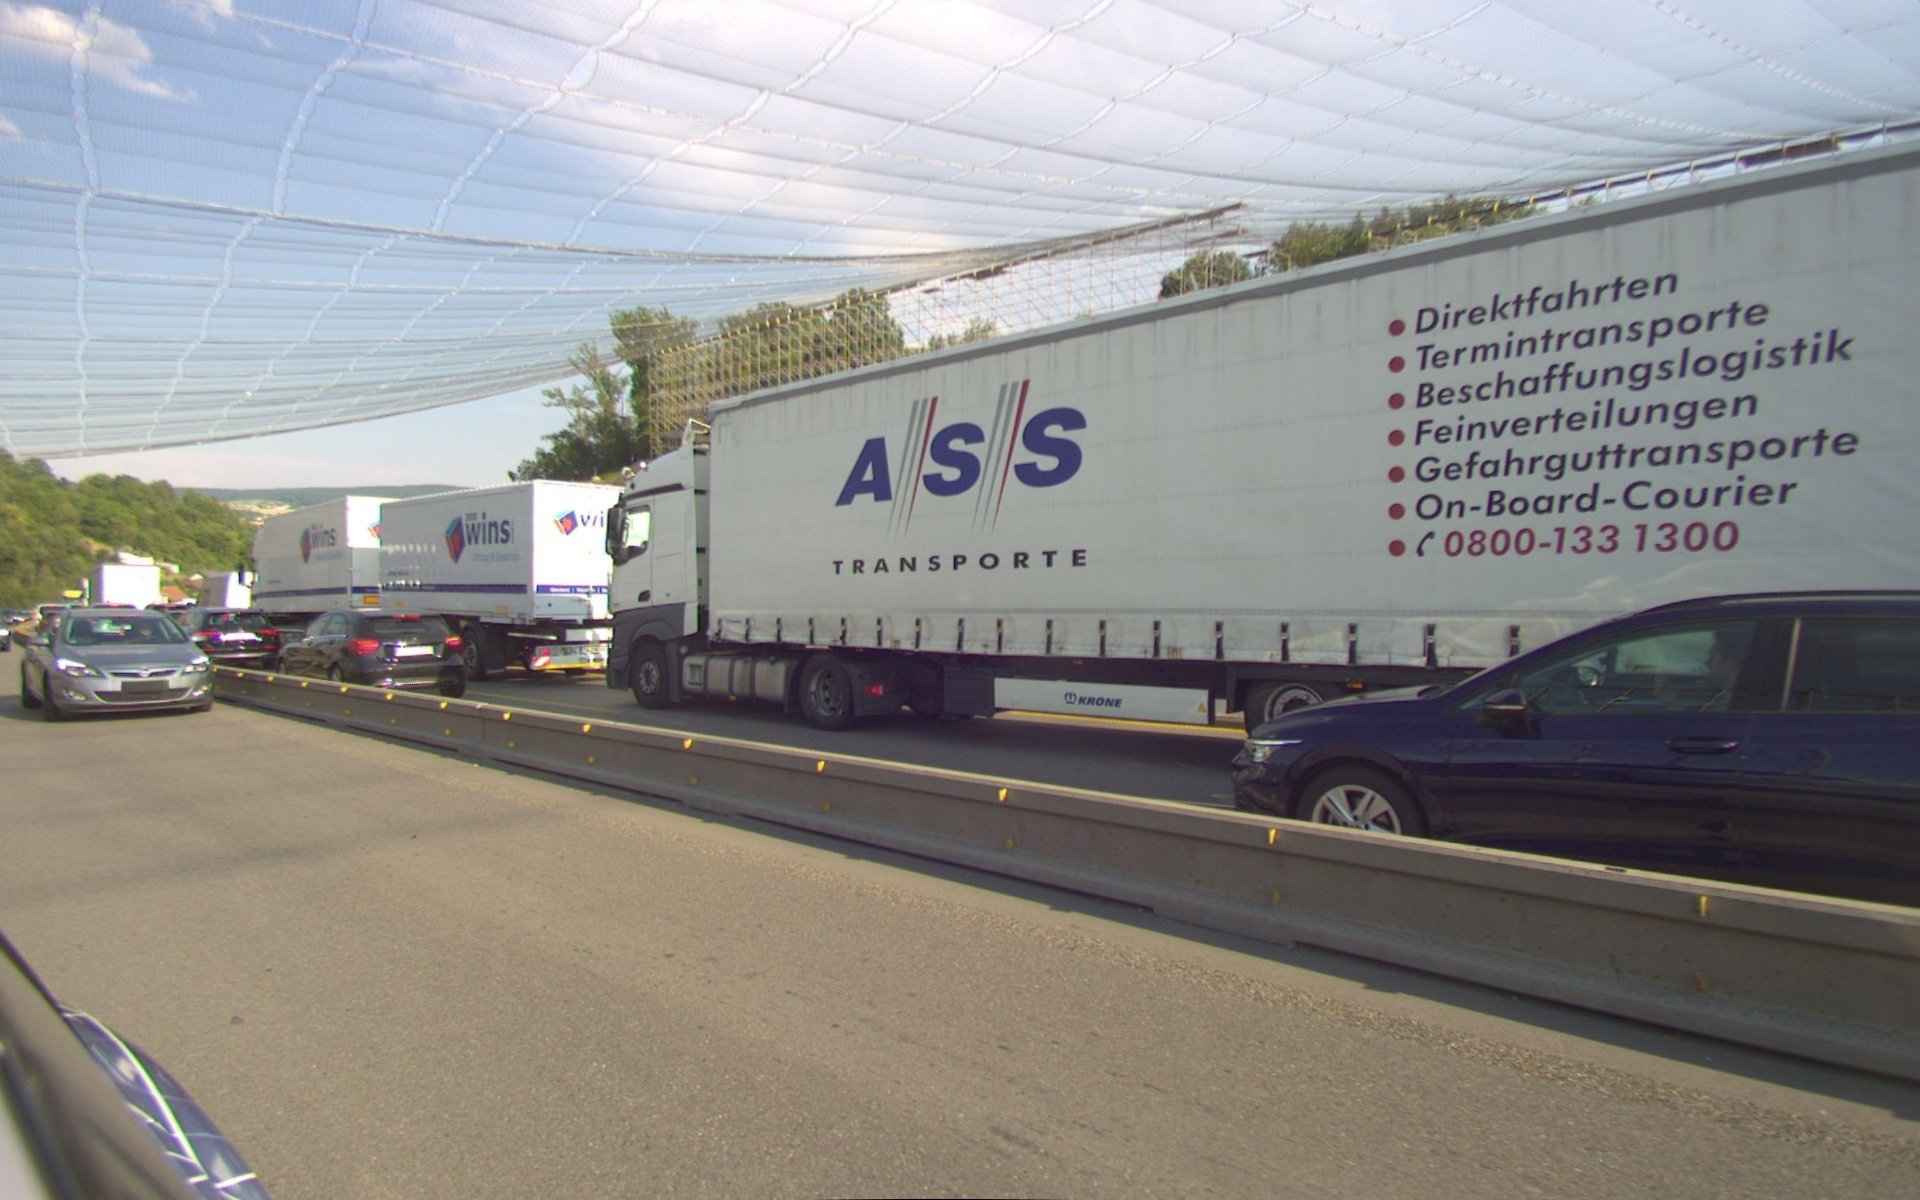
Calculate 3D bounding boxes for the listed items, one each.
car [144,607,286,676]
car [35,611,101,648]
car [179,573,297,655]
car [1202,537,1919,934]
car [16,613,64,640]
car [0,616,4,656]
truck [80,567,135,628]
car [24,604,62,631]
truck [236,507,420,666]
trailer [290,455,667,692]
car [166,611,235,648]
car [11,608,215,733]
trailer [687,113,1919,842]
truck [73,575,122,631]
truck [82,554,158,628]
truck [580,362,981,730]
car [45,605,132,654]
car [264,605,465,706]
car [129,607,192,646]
[{"bbox_3d":[-17.672,0.903,23.919,4.661,1.461,1.759,-1,0,41],"label":"car"},{"bbox_3d":[-40.659,1.300,46.101,4.365,1.580,1.789,-1,0,42],"label":"car"},{"bbox_3d":[-26.447,0.474,36.916,7.083,2.733,2.216,-1,0,44],"label":"car"},{"bbox_3d":[3.478,0.480,4.730,4.243,1.408,1.774,-1,0,42],"label":"car"},{"bbox_3d":[-52.647,1.470,57.874,4.520,1.430,1.788,-1,0,45],"label":"car"},{"bbox_3d":[-34.980,1.263,35.620,3.823,1.394,1.741,-1,0,44],"label":"car"},{"bbox_3d":[-58.394,-0.154,69.282,2.486,3.937,6.054,0,0,-44],"label":"truck"},{"bbox_3d":[-65.354,1.226,72.080,1.787,1.883,5.284,0,0,-45],"label":"car"},{"bbox_3d":[-17.913,-0.308,28.464,7.204,3.939,2.602,-1,0,43],"label":"truck"},{"bbox_3d":[-11.438,-0.416,22.701,13.328,4.046,2.642,-1,0,42],"label":"trailer"},{"bbox_3d":[-32.298,1.214,43.004,1.771,1.448,4.383,0,0,-45],"label":"car"},{"bbox_3d":[-12.138,0.877,14.398,4.353,1.484,1.736,-1,0,43],"label":"car"},{"bbox_3d":[2.623,-0.643,9.380,14.089,3.993,2.403,-1,0,41],"label":"trailer"},{"bbox_3d":[-76.804,0.308,89.913,2.951,4.593,17.430,0,0,-42],"label":"truck"},{"bbox_3d":[-52.996,-0.468,63.674,2.690,4.259,14.180,0,0,-44],"label":"truck"},{"bbox_3d":[-2.662,-0.587,13.998,5.614,4.076,2.448,-1,0,41],"label":"truck"},{"bbox_3d":[-30.406,0.987,35.270,4.365,1.580,1.789,-1,0,42],"label":"car"},{"bbox_3d":[-9.516,0.794,16.048,3.898,1.386,1.591,-1,0,41],"label":"car"},{"bbox_3d":[-37.963,1.236,48.003,4.939,1.740,1.803,-1,0,45],"label":"car"}]
